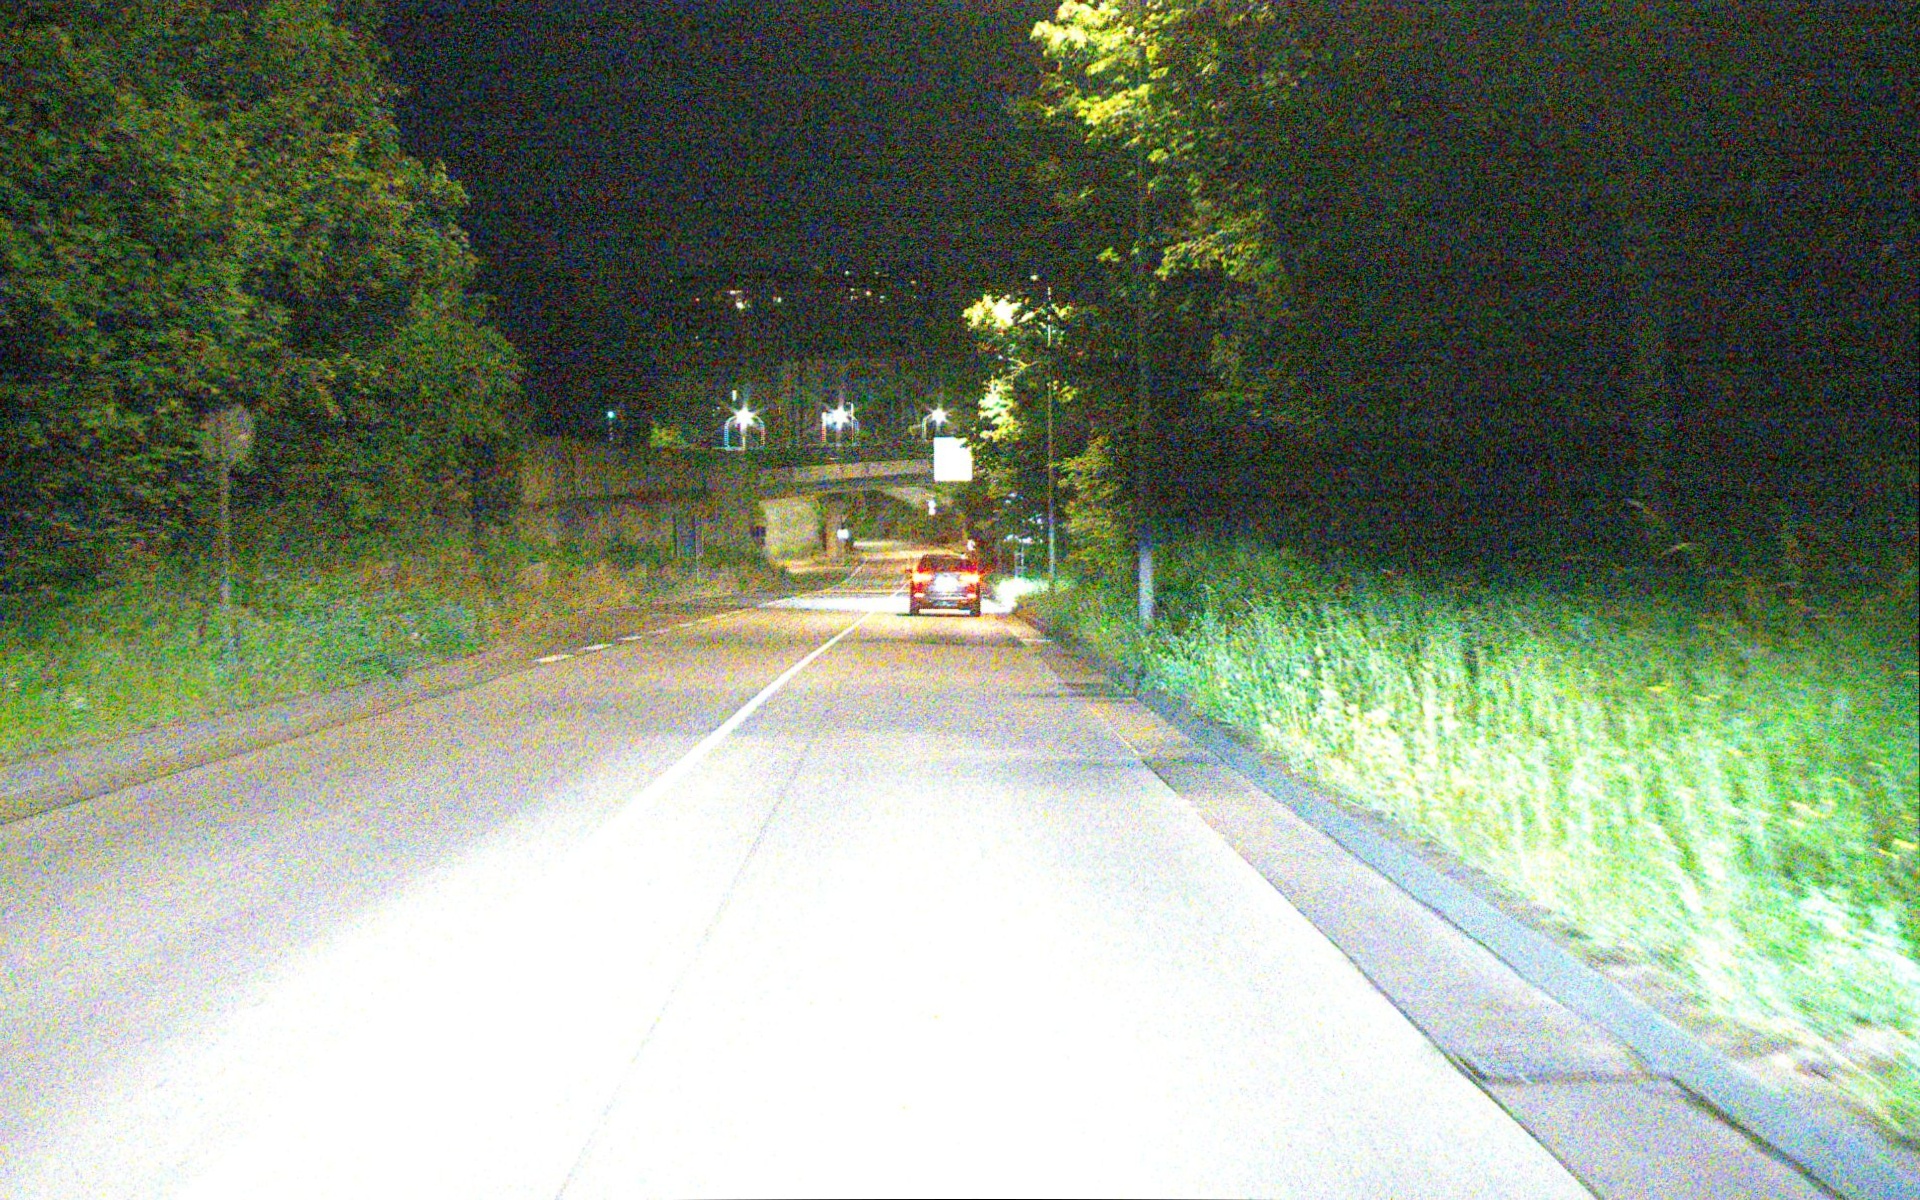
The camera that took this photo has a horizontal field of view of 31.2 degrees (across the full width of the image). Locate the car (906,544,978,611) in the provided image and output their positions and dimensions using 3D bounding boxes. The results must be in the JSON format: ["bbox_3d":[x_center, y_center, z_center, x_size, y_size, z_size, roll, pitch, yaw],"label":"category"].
[{"bbox_3d":[-0.433,-0.594,87.554,1.763,1.636,3.723,0,2,1],"label":"car"}]
